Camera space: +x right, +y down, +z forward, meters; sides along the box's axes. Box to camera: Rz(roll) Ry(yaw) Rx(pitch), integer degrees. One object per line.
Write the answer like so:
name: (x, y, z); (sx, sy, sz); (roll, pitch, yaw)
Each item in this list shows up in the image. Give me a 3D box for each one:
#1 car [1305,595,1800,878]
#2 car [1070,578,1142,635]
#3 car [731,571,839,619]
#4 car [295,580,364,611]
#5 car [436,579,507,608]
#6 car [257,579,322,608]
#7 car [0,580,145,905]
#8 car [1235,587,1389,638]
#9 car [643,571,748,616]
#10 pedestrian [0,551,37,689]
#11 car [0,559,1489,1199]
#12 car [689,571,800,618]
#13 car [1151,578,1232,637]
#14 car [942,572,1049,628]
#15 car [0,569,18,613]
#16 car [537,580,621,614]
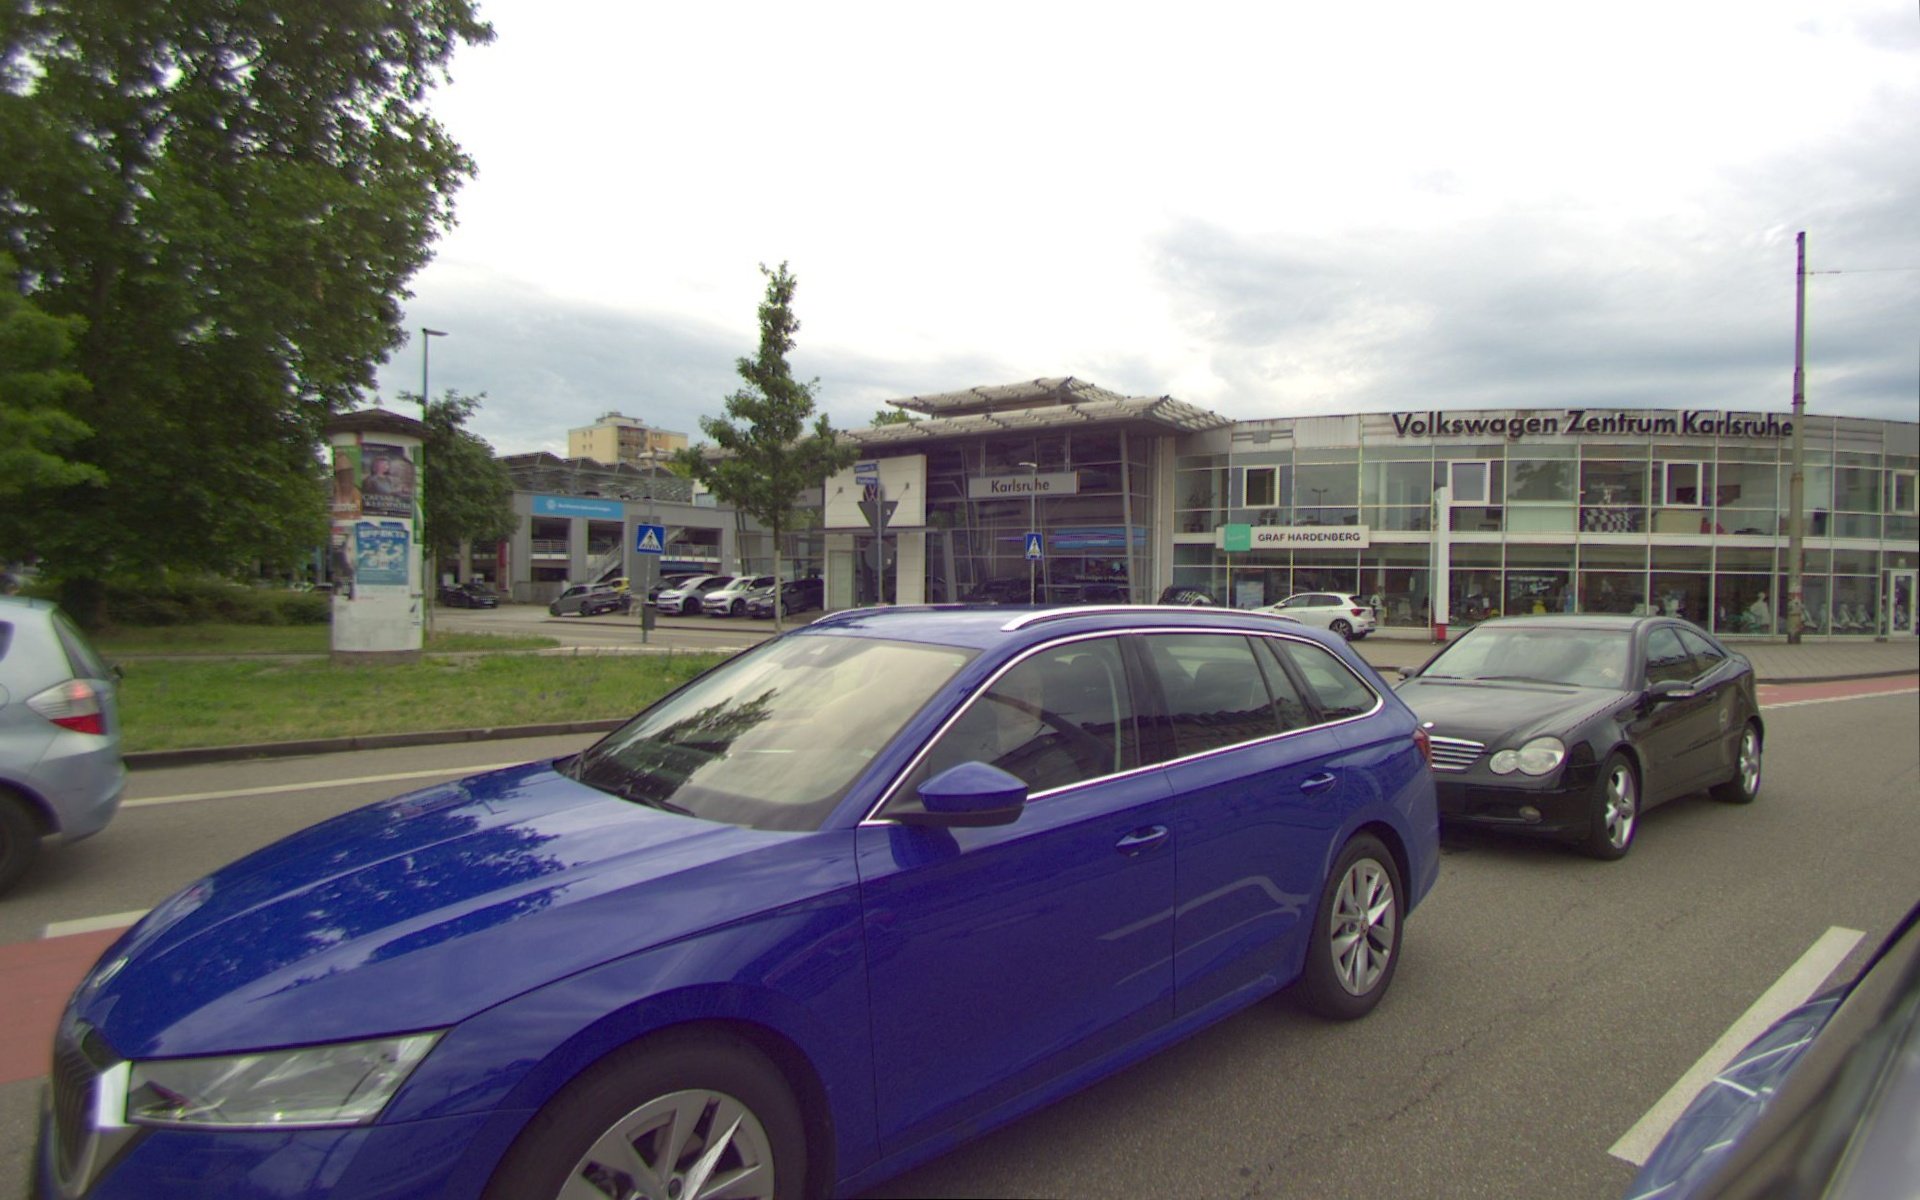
car: (4.358, 0.705, 7.204); (3.996, 1.439, 1.714); (0, 1, -39)
car: (4.694, 0.152, 33.129); (1.824, 1.522, 4.340); (0, 4, 2)
car: (-7.333, -0.255, 42.851); (1.886, 1.717, 4.421); (0, 4, 36)
car: (-37.081, -0.296, 59.500); (4.446, 1.643, 1.838); (2, 2, 35)
car: (-29.004, -0.411, 60.048); (4.446, 1.567, 1.876); (2, 2, 35)
car: (-41.737, -0.424, 62.974); (4.446, 1.643, 1.838); (2, 2, 35)
car: (-6.109, 0.648, 4.332); (4.027, 1.485, 1.752); (0, 1, -41)
car: (10.998, 0.354, 31.796); (4.243, 1.471, 1.757); (1, 1, 40)
car: (-11.997, -0.337, 46.191); (1.859, 1.719, 4.419); (0, 4, 37)
pedestrian: (-13.261, 0.268, 13.730); (0.527, 1.867, 0.985); (1, 1, 6)
car: (-0.107, 0.660, 3.329); (4.387, 1.507, 1.783); (-1, 2, -41)
car: (-9.416, -0.281, 44.596); (1.850, 1.719, 4.716); (0, 4, 36)
car: (7.405, 0.174, 32.737); (1.867, 1.581, 4.219); (1, 3, 4)
car: (1.342, -0.055, 35.860); (1.846, 1.652, 4.464); (0, 4, 31)
car: (-36.515, -0.338, 36.332); (4.408, 1.567, 1.854); (1, 1, 13)
car: (-18.655, -0.170, 49.497); (3.988, 1.583, 1.896); (0, 2, 35)
